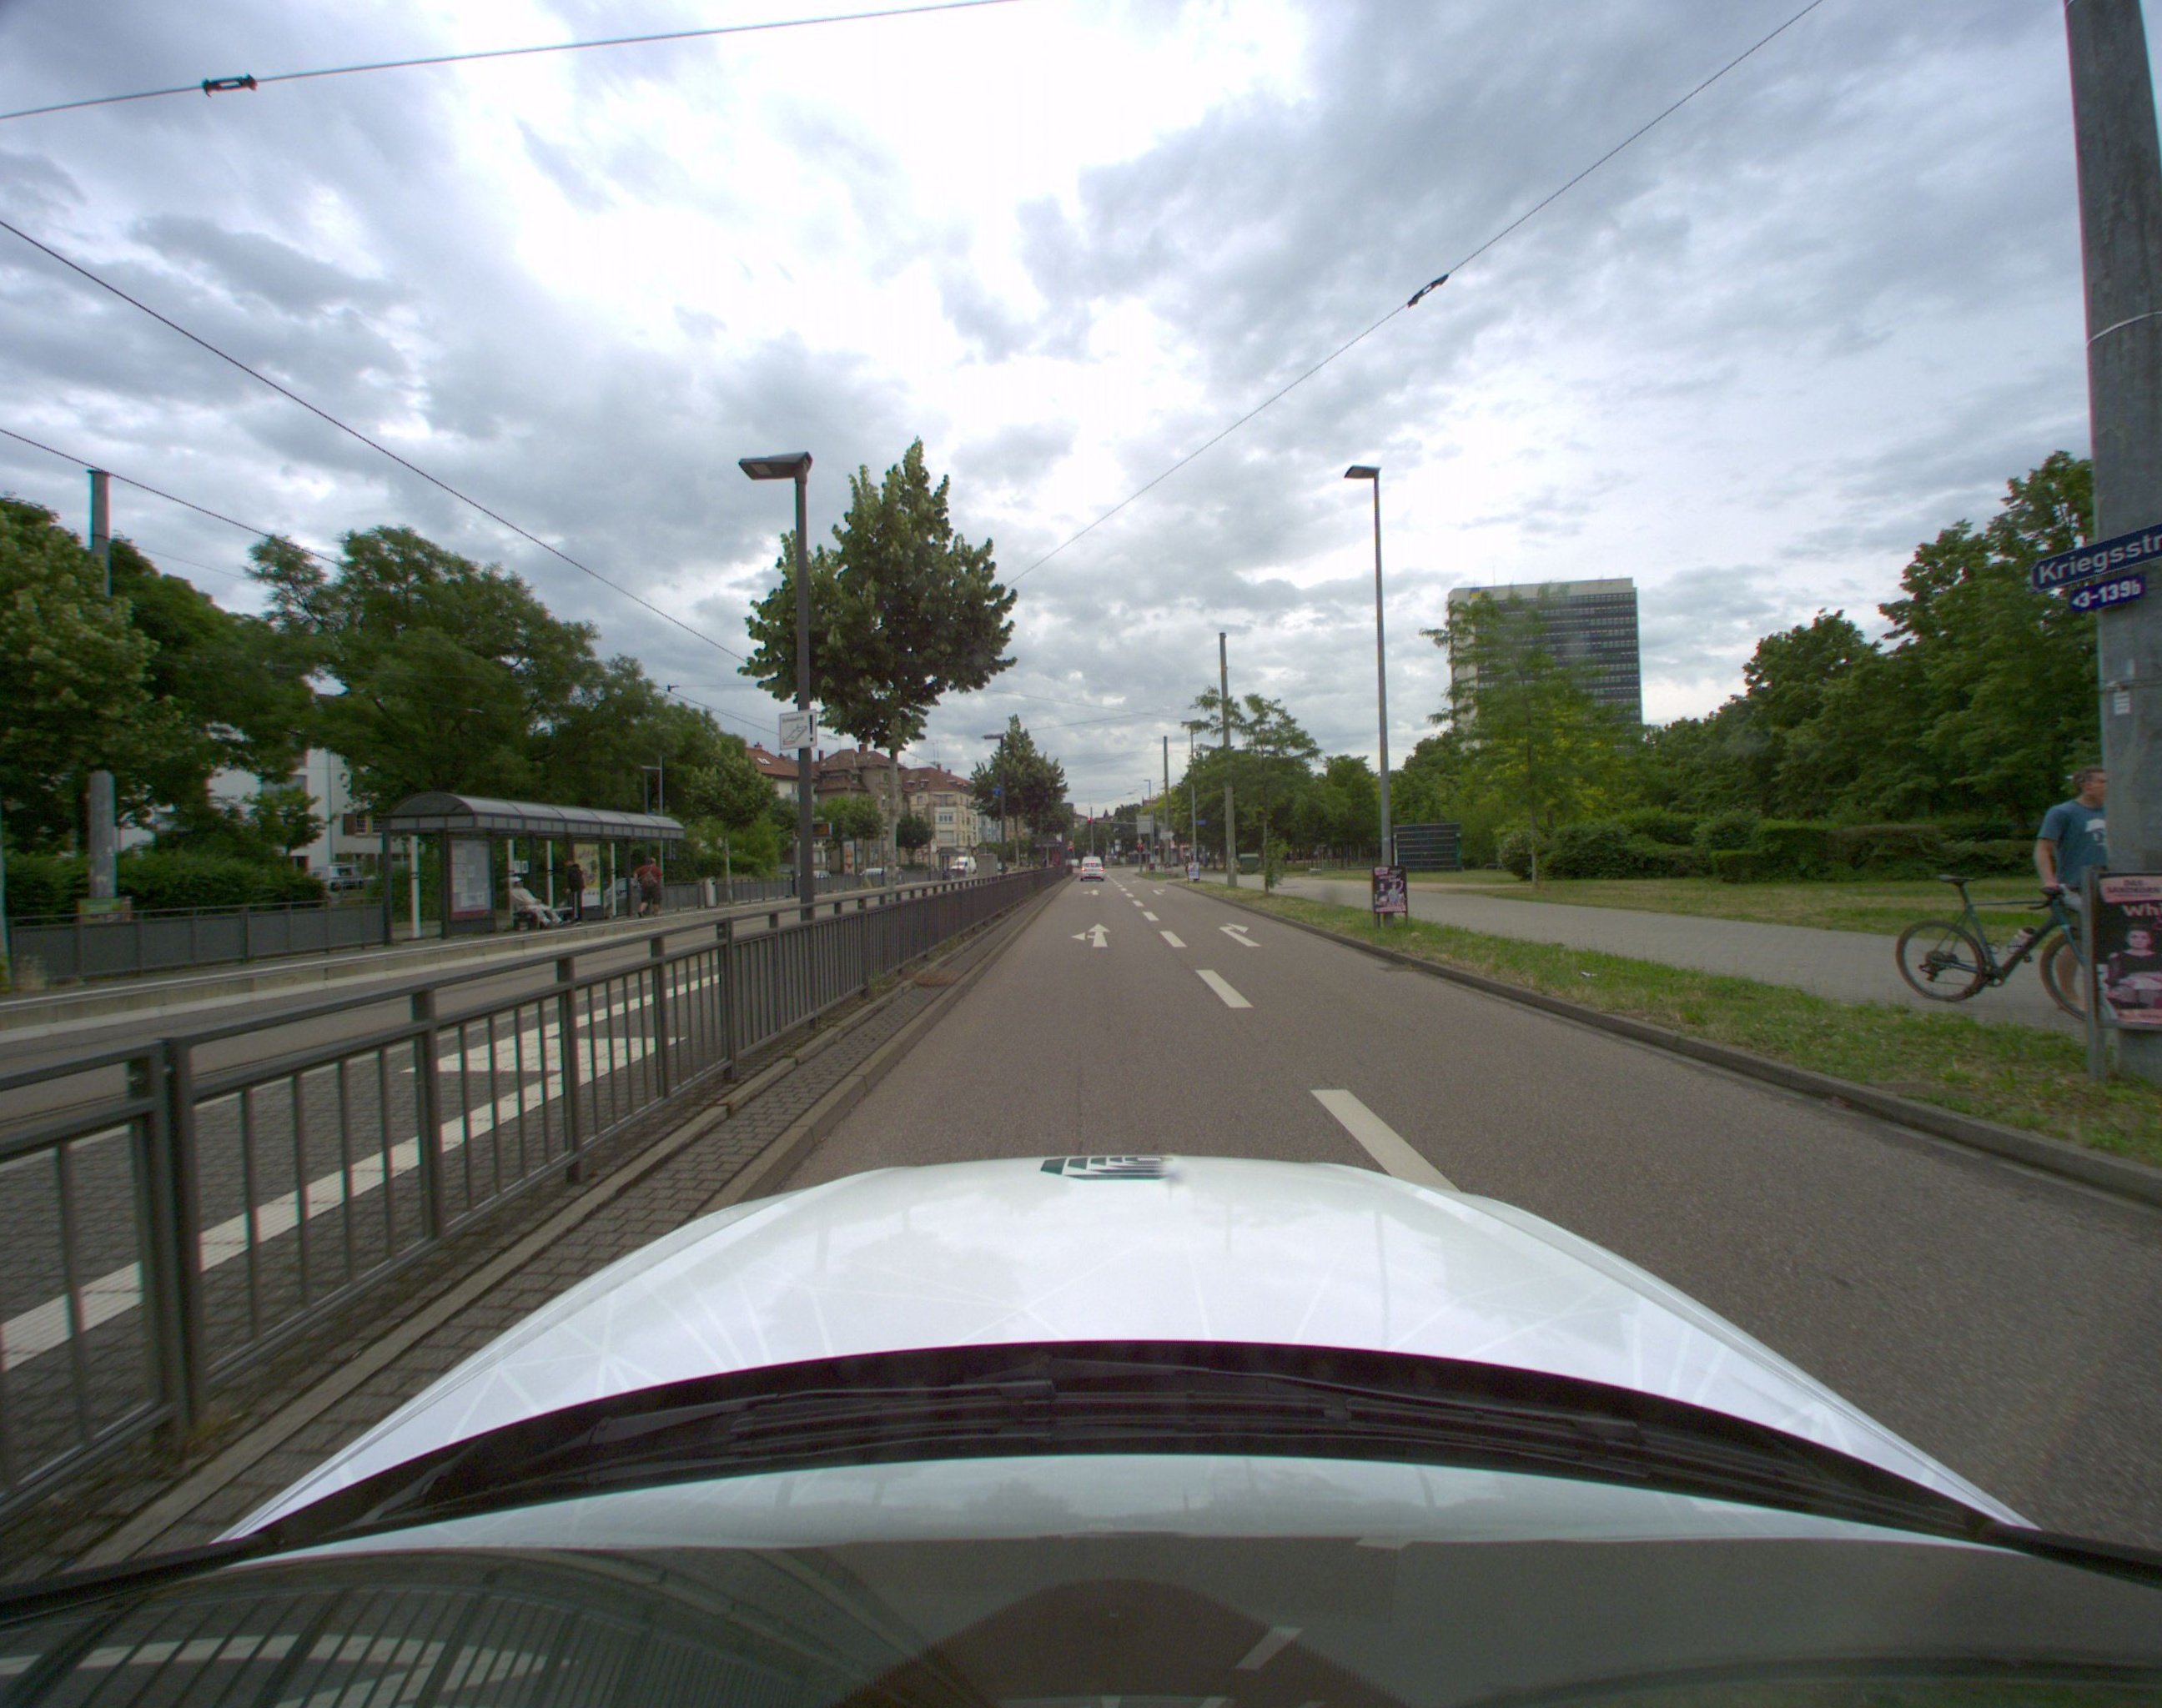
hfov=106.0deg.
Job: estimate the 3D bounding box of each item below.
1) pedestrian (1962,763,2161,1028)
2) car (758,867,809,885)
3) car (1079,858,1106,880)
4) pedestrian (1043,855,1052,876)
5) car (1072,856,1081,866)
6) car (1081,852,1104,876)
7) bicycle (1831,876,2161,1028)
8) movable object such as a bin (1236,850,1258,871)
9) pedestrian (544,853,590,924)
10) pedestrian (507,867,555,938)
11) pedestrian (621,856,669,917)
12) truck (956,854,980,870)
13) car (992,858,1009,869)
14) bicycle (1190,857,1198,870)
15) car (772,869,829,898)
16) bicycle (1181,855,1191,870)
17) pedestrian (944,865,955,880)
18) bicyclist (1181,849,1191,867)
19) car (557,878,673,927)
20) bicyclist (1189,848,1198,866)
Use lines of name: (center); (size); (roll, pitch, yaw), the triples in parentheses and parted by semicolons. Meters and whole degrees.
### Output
pedestrian: (7.480, 0.298, 6.191); (0.737, 1.869, 0.682); (-2, -1, 0)
car: (-26.663, 1.960, 73.172); (3.861, 1.493, 1.776); (-2, -1, 0)
car: (0.873, 1.091, 59.568); (1.775, 1.472, 4.012); (-2, 0, 2)
pedestrian: (-2.403, 0.800, 58.539); (0.574, 1.481, 0.617); (-2, -1, -2)
car: (-0.961, 1.439, 166.049); (1.764, 1.874, 3.887); (-2, -1, 1)
car: (0.952, 0.827, 68.198); (1.776, 1.962, 4.382); (-2, 0, 0)
bicycle: (7.202, 0.708, 6.567); (0.652, 1.003, 1.779); (-2, -1, 1)
movable object such as a bin: (11.510, 0.471, 56.437); (1.277, 1.390, 1.159); (-2, -1, 1)
pedestrian: (-12.852, 0.858, 20.382); (0.699, 1.715, 0.697); (-2, -1, -8)
pedestrian: (-13.104, 1.147, 19.430); (0.630, 1.624, 0.680); (-2, -1, -1)
pedestrian: (-12.507, 0.914, 23.392); (0.766, 1.660, 1.024); (-2, -1, -2)
truck: (-15.346, 1.111, 110.622); (1.778, 2.033, 5.406); (-2, -1, 7)
car: (-12.422, 1.466, 125.771); (1.760, 1.493, 3.894); (-2, -1, 7)
bicycle: (10.203, 0.833, 73.553); (0.675, 1.155, 1.901); (-2, 0, 6)
car: (-15.748, 1.617, 45.845); (1.764, 1.493, 3.887); (-2, -1, 1)
bicycle: (8.279, 0.662, 63.905); (0.675, 1.155, 1.903); (-2, 0, 9)
pedestrian: (-12.063, 1.688, 74.536); (0.862, 1.267, 0.693); (-2, -1, -2)
bicyclist: (8.251, 0.283, 63.913); (0.675, 1.379, 0.729); (-2, -1, 9)
car: (-16.341, 1.643, 28.777); (1.764, 1.493, 3.887); (-2, -1, 1)
bicyclist: (10.175, 0.261, 73.540); (0.675, 1.537, 0.674); (-2, -1, 6)
